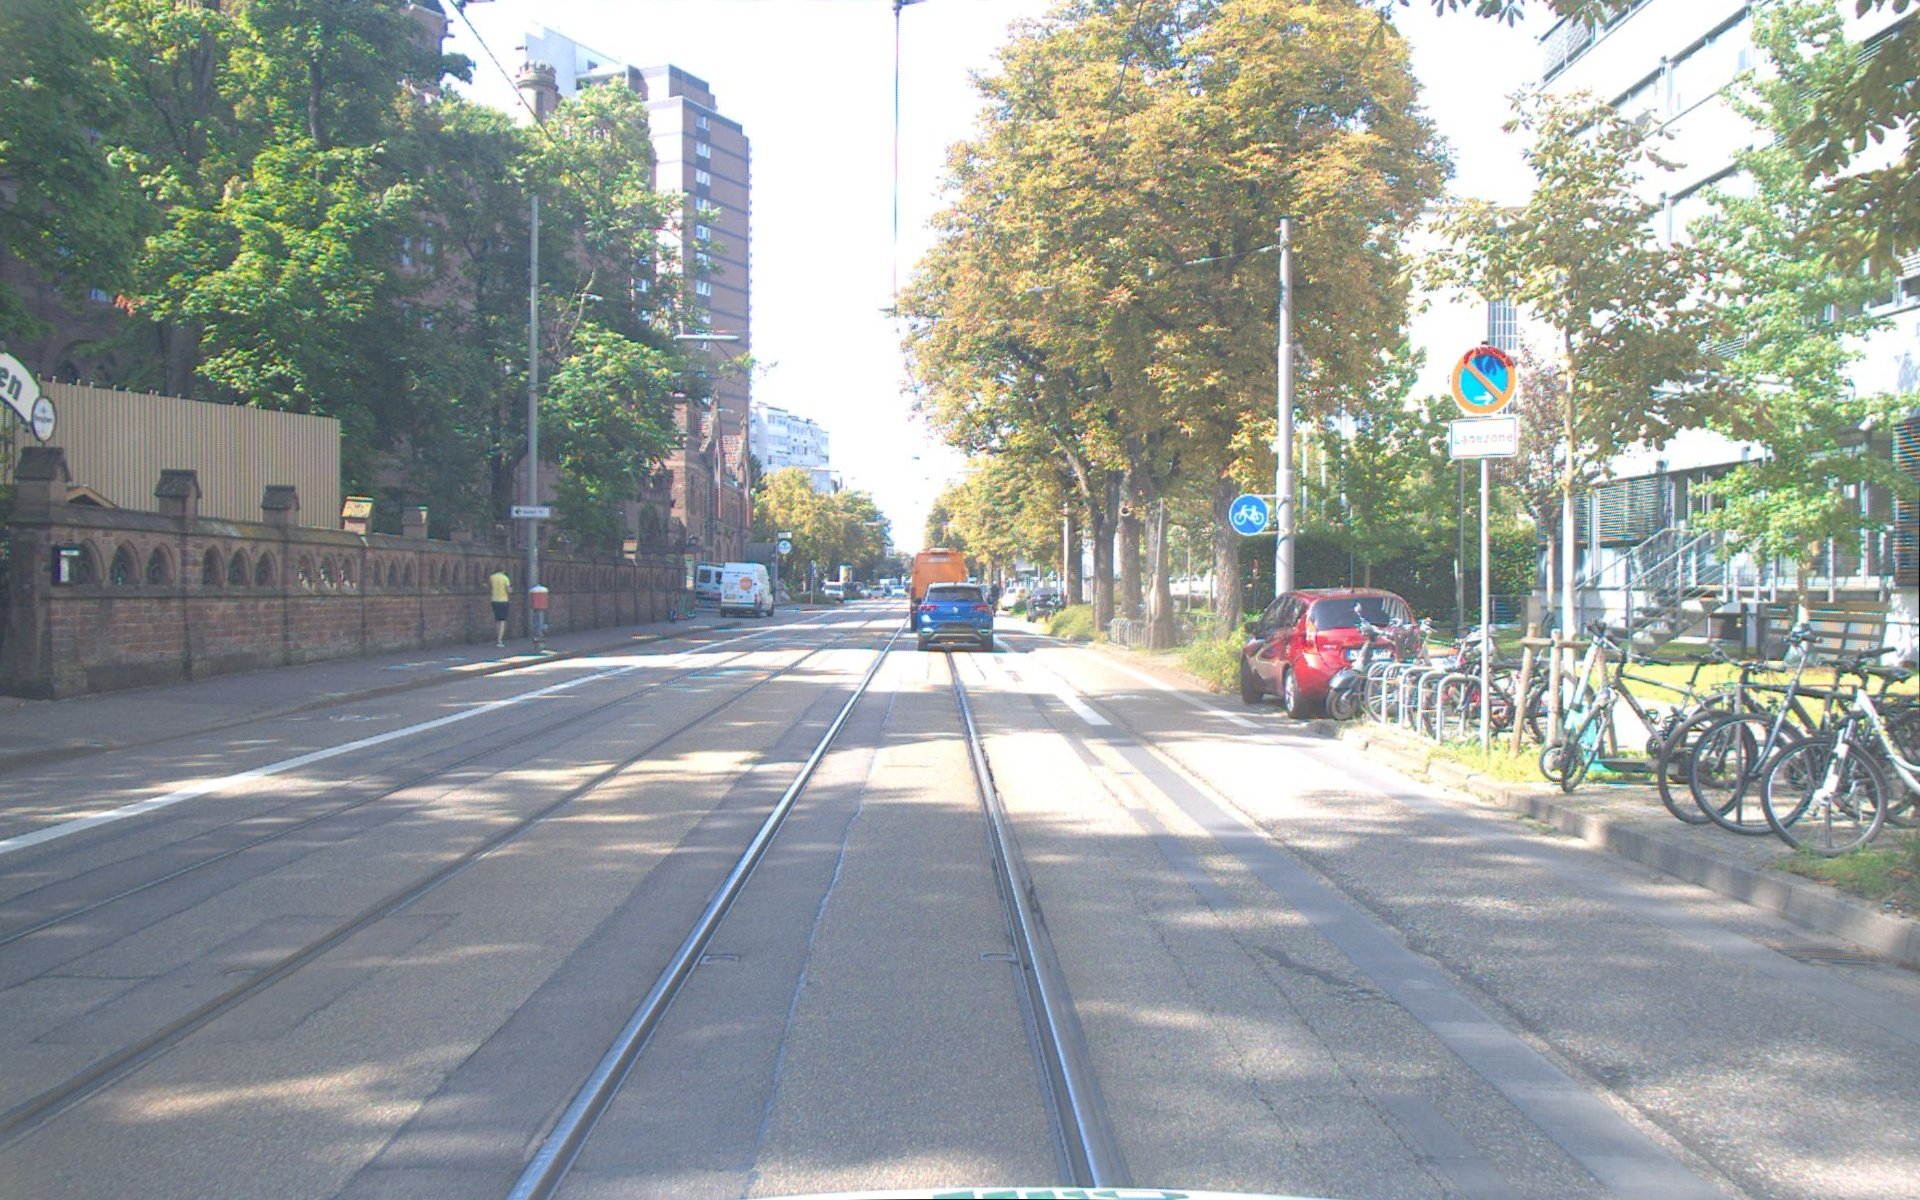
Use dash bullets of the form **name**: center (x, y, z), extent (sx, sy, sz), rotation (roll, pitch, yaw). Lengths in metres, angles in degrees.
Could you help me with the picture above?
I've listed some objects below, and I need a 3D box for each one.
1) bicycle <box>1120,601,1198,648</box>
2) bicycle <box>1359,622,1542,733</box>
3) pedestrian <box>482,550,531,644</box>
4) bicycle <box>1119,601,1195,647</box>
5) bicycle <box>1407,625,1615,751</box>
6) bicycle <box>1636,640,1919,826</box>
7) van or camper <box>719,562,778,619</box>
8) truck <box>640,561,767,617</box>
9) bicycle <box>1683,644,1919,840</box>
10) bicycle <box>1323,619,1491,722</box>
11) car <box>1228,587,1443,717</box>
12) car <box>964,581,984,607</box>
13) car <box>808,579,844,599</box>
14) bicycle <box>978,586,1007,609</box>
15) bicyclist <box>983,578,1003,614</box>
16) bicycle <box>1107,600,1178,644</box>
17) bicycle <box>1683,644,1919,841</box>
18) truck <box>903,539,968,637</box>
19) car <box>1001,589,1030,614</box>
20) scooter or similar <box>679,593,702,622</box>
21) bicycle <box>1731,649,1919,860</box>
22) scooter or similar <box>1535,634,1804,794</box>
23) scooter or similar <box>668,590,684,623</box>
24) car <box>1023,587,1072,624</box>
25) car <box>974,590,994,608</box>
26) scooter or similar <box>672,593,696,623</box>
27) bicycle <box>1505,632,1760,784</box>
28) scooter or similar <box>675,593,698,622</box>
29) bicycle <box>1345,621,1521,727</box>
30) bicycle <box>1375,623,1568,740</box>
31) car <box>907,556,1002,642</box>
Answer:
- **bicycle**: center (4.668, 0.576, 38.871), extent (1.735, 1.068, 0.540), rotation (-1, 0, -2)
- **bicycle**: center (5.080, 0.792, 17.165), extent (1.735, 1.090, 0.540), rotation (-1, 0, -2)
- **pedestrian**: center (-10.142, -0.068, 36.990), extent (0.847, 2.049, 0.983), rotation (0, 0, -3)
- **bicycle**: center (4.699, 0.573, 39.549), extent (1.735, 1.068, 0.540), rotation (-1, 0, -2)
- **bicycle**: center (5.065, 0.801, 15.251), extent (1.735, 1.090, 0.540), rotation (-1, 0, -2)
- **bicycle**: center (5.252, 0.825, 10.452), extent (1.735, 1.090, 0.540), rotation (-1, 0, -2)
- **van or camper**: center (-10.450, -0.468, 82.129), extent (2.069, 2.722, 5.955), rotation (0, 0, 0)
- **truck**: center (-13.455, -0.603, 86.911), extent (6.189, 2.582, 2.132), rotation (3, 2, 4)
- **bicycle**: center (5.304, 0.828, 9.875), extent (1.735, 1.090, 0.540), rotation (-1, 0, -2)
- **bicycle**: center (5.020, 0.785, 18.612), extent (1.735, 1.090, 0.540), rotation (-1, 0, -2)
- **car**: center (4.695, 0.581, 21.300), extent (1.720, 1.487, 4.274), rotation (-1, 0, -1)
- **car**: center (1.590, -0.690, 188.226), extent (1.953, 2.804, 5.759), rotation (0, 0, -2)
- **car**: center (-12.227, -0.977, 150.792), extent (1.729, 1.828, 3.958), rotation (0, 0, -31)
- **bicycle**: center (1.641, -0.117, 84.317), extent (1.373, 1.154, 3.999), rotation (0, 0, -1)
- **bicyclist**: center (1.677, -0.196, 84.301), extent (1.011, 1.844, 1.016), rotation (0, 0, -1)
- **bicycle**: center (4.637, 0.561, 42.028), extent (1.735, 1.068, 0.540), rotation (-1, 0, -2)
- **bicycle**: center (5.294, 0.828, 9.853), extent (1.735, 1.090, 0.540), rotation (-1, 0, -2)
- **truck**: center (-0.846, -0.412, 57.240), extent (2.092, 3.179, 6.083), rotation (-1, 0, -1)
- **car**: center (3.478, 0.103, 104.025), extent (1.625, 1.507, 4.216), rotation (-1, 0, -1)
- **scooter or similar**: center (-11.156, 0.298, 68.553), extent (0.332, 1.199, 1.177), rotation (0, 0, 24)
- **bicycle**: center (5.260, 0.831, 9.156), extent (1.735, 1.090, 0.540), rotation (-1, 0, -2)
- **scooter or similar**: center (5.165, 0.817, 12.083), extent (1.735, 1.090, 0.540), rotation (-1, 0, -2)
- **scooter or similar**: center (-10.644, 0.241, 61.956), extent (0.413, 1.199, 1.311), rotation (0, 0, -16)
- **car**: center (3.854, 0.233, 73.150), extent (1.720, 1.542, 4.607), rotation (-1, 0, -2)
- **car**: center (2.263, -0.115, 157.125), extent (1.705, 1.697, 4.360), rotation (0, 0, -2)
- **scooter or similar**: center (-11.044, 0.310, 66.249), extent (0.332, 1.199, 1.177), rotation (0, 0, 24)
- **bicycle**: center (5.135, 0.814, 12.670), extent (1.735, 1.090, 0.540), rotation (-1, 0, -2)
- **scooter or similar**: center (-11.152, 0.304, 67.419), extent (0.332, 1.199, 1.177), rotation (0, 0, 24)
- **bicycle**: center (5.094, 0.789, 17.840), extent (1.735, 1.090, 0.540), rotation (-1, 0, -2)
- **bicycle**: center (5.045, 0.796, 16.353), extent (1.735, 1.090, 0.540), rotation (-1, 0, -2)
- **car**: center (-0.162, -0.033, 39.806), extent (2.092, 1.891, 5.567), rotation (-1, 0, -1)
